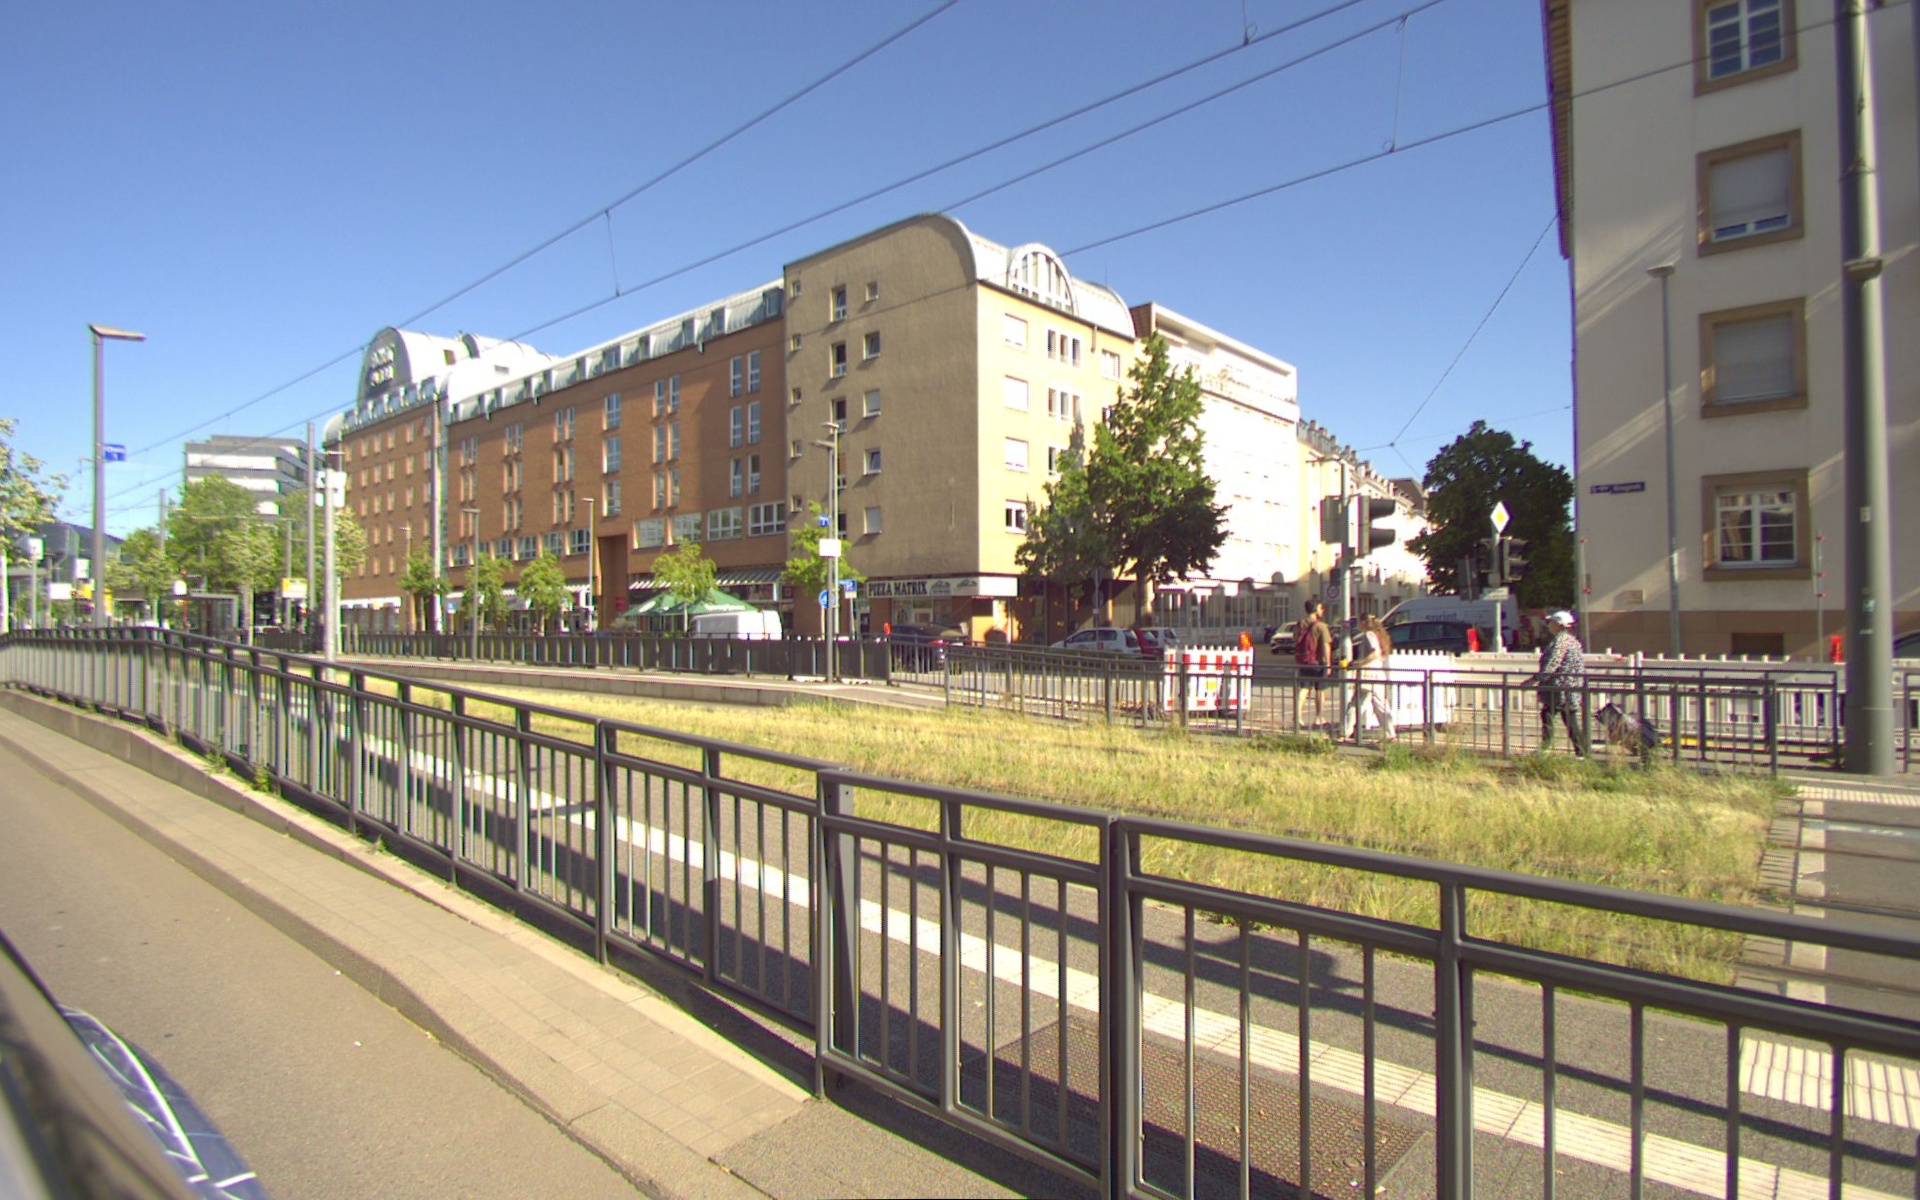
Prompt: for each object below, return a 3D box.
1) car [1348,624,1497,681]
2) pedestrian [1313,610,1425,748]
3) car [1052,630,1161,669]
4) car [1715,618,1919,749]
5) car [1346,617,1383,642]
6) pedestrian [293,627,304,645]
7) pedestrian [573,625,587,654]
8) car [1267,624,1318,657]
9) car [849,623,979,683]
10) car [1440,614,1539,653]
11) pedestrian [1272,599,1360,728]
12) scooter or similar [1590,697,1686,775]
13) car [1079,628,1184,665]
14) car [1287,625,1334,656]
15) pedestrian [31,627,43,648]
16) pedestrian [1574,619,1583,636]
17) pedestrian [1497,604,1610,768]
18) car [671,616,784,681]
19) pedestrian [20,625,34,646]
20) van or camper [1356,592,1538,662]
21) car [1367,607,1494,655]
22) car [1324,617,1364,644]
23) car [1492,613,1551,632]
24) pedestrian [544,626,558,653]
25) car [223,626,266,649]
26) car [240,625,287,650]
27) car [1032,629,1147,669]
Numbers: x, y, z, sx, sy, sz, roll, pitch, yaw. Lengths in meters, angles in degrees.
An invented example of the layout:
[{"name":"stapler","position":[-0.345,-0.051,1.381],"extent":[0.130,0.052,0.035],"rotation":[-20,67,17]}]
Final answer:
[{"name":"car","position":[13.110,1.456,28.729],"extent":[3.662,1.533,1.673],"rotation":[-1,-2,32]},{"name":"pedestrian","position":[4.870,0.901,12.072],"extent":[0.894,1.548,0.870],"rotation":[-1,-1,-36]},{"name":"car","position":[5.827,1.943,40.377],"extent":[3.980,1.462,1.768],"rotation":[-1,-2,28]},{"name":"car","position":[11.913,0.991,12.507],"extent":[3.998,1.527,1.797],"rotation":[-2,-2,41]},{"name":"car","position":[28.085,2.055,70.168],"extent":[1.947,1.674,3.962],"rotation":[-1,-2,28]},{"name":"pedestrian","position":[-66.246,3.608,101.380],"extent":[0.779,1.769,0.706],"rotation":[-2,-2,42]},{"name":"pedestrian","position":[-24.756,2.584,66.005],"extent":[0.644,1.854,0.614],"rotation":[-2,-2,41]},{"name":"car","position":[17.663,2.102,53.637],"extent":[1.947,1.674,3.962],"rotation":[-1,-2,28]},{"name":"car","position":[-1.500,1.636,32.060],"extent":[3.997,1.773,1.796],"rotation":[-2,-2,40]},{"name":"car","position":[25.214,1.578,48.211],"extent":[3.990,1.789,1.722],"rotation":[-1,-2,35]},{"name":"pedestrian","position":[5.180,0.892,14.729],"extent":[0.909,1.794,0.855],"rotation":[-2,-1,44]},{"name":"scooter or similar","position":[6.617,1.313,9.874],"extent":[0.709,0.656,0.509],"rotation":[-2,-1,41]},{"name":"car","position":[7.159,1.923,42.324],"extent":[3.980,1.462,1.768],"rotation":[-1,-2,28]},{"name":"car","position":[19.959,2.257,57.594],"extent":[1.947,1.674,3.962],"rotation":[-1,-2,28]},{"name":"pedestrian","position":[-71.316,2.876,78.184],"extent":[0.600,1.581,0.911],"rotation":[-1,-1,-36]},{"name":"pedestrian","position":[64.814,2.906,106.035],"extent":[0.687,1.768,0.807],"rotation":[-2,-2,34]},{"name":"pedestrian","position":[5.985,0.829,10.203],"extent":[0.815,1.548,0.787],"rotation":[-2,-1,41]},{"name":"car","position":[-9.321,1.866,40.221],"extent":[1.969,2.388,5.653],"rotation":[0,-2,-41]},{"name":"pedestrian","position":[-73.036,2.786,79.236],"extent":[0.599,1.581,0.730],"rotation":[0,-1,-26]},{"name":"van or camper","position":[17.946,1.009,37.433],"extent":[5.933,2.419,1.979],"rotation":[-1,-2,30]},{"name":"car","position":[15.599,1.024,33.588],"extent":[3.654,1.533,1.673],"rotation":[-1,-2,32]},{"name":"car","position":[24.756,1.940,65.189],"extent":[1.947,1.674,3.962],"rotation":[-1,-2,28]},{"name":"car","position":[44.066,1.793,79.525],"extent":[3.853,1.472,1.740],"rotation":[-1,-2,24]},{"name":"pedestrian","position":[-28.175,2.694,69.736],"extent":[0.644,1.854,0.614],"rotation":[-2,-2,39]},{"name":"car","position":[-57.430,2.956,81.198],"extent":[3.998,1.696,1.973],"rotation":[-1,0,41]},{"name":"car","position":[-51.262,2.749,74.461],"extent":[3.998,1.696,1.973],"rotation":[-1,0,41]},{"name":"car","position":[4.930,1.839,38.578],"extent":[3.980,1.462,1.768],"rotation":[-1,-2,28]}]
